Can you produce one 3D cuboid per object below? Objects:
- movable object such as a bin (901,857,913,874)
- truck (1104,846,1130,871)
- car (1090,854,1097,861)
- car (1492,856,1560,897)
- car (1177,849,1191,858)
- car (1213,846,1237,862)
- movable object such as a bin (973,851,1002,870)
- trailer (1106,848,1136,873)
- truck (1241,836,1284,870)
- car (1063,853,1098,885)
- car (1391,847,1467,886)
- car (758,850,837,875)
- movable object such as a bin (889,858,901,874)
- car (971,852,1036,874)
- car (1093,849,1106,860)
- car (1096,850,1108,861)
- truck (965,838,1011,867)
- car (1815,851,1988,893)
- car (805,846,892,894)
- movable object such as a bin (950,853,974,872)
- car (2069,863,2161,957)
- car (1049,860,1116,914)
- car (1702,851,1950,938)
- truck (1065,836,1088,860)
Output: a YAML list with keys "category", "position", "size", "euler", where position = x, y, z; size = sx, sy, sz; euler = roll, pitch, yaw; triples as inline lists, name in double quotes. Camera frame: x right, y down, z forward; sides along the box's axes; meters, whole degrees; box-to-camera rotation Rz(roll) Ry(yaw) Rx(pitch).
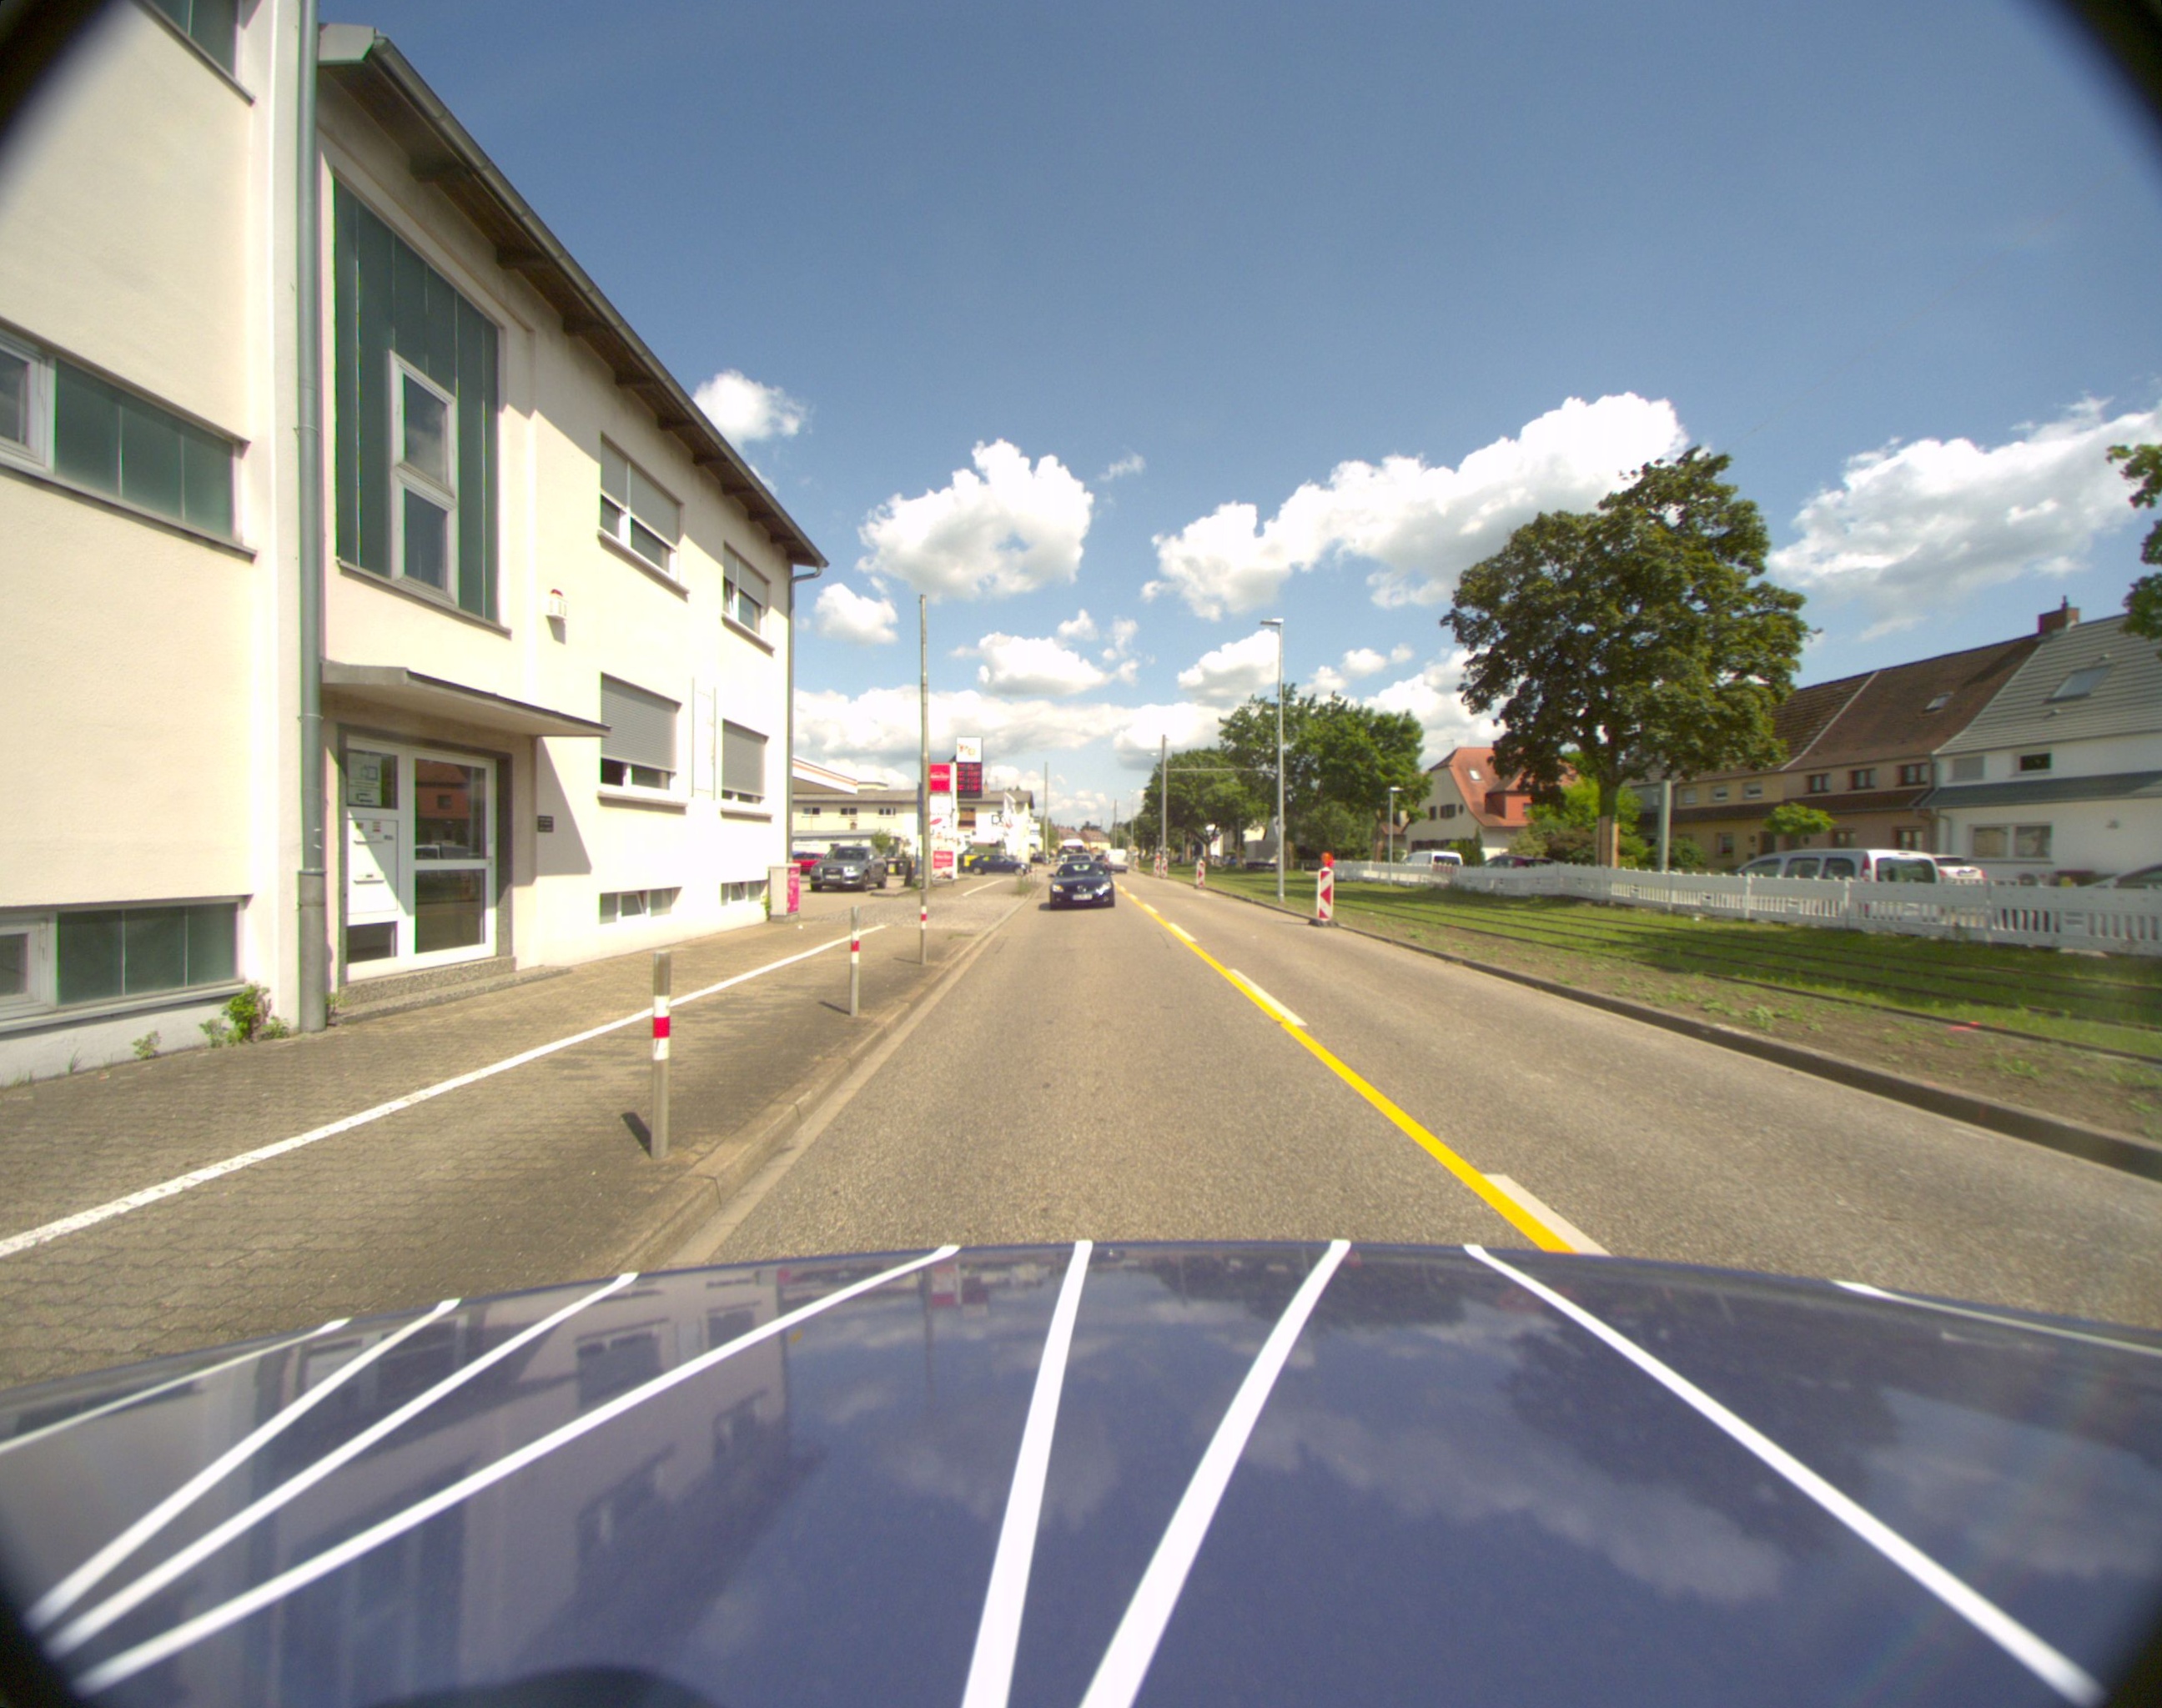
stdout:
- category: "movable object such as a bin"
  position: [-11.083, 0.733, 48.430]
  size: [0.582, 1.004, 0.706]
  euler: [-2, 1, -1]
- category: "truck"
  position: [3.026, 0.364, 65.170]
  size: [1.825, 1.899, 5.114]
  euler: [2, 1, -1]
- category: "car"
  position: [3.076, 0.807, 181.094]
  size: [1.582, 1.461, 3.719]
  euler: [2, 1, 0]
- category: "car"
  position: [15.963, 0.764, 27.342]
  size: [1.075, 1.340, 2.449]
  euler: [1, 1, 4]
- category: "car"
  position: [15.995, -0.053, 117.947]
  size: [1.637, 1.294, 3.999]
  euler: [-2, 1, 0]
- category: "car"
  position: [14.862, -0.001, 78.487]
  size: [1.672, 1.504, 3.930]
  euler: [-2, 1, 0]
- category: "movable object such as a bin"
  position: [-7.121, 0.473, 57.785]
  size: [1.968, 1.339, 1.708]
  euler: [-2, 1, -1]
- category: "trailer"
  position: [3.162, 0.462, 61.542]
  size: [2.067, 1.825, 5.484]
  euler: [2, 1, 0]
- category: "truck"
  position: [16.099, -0.148, 67.920]
  size: [2.371, 2.789, 5.950]
  euler: [-2, 1, 0]
- category: "car"
  position: [-0.012, 0.706, 37.413]
  size: [1.594, 1.418, 3.706]
  euler: [-2, 1, 0]
- category: "car"
  position: [16.086, 0.539, 35.326]
  size: [1.657, 1.616, 4.000]
  euler: [1, 1, 0]
- category: "car"
  position: [-17.238, 0.500, 46.343]
  size: [4.145, 1.416, 1.771]
  euler: [1, 1, 1]
- category: "movable object such as a bin"
  position: [-11.820, 0.761, 48.388]
  size: [0.582, 1.004, 0.706]
  euler: [-2, 1, -1]
- category: "car"
  position: [-5.184, 0.582, 50.986]
  size: [4.061, 1.400, 1.647]
  euler: [0, 1, 6]
- category: "car"
  position: [2.584, 0.072, 109.054]
  size: [1.697, 1.404, 3.858]
  euler: [2, 1, -1]
- category: "car"
  position: [3.375, 0.207, 123.992]
  size: [1.829, 1.656, 4.461]
  euler: [1, 1, 0]
- category: "truck"
  position: [-9.125, -0.153, 74.673]
  size: [4.181, 2.645, 2.108]
  euler: [-2, 1, 1]
- category: "car"
  position: [28.433, 0.564, 26.538]
  size: [1.538, 1.268, 4.119]
  euler: [1, 1, 0]
- category: "car"
  position: [-8.447, 0.532, 28.062]
  size: [1.951, 1.615, 4.614]
  euler: [1, 1, -2]
- category: "movable object such as a bin"
  position: [-8.980, 0.627, 57.311]
  size: [1.536, 1.402, 1.765]
  euler: [-2, 1, -1]
- category: "car"
  position: [16.380, 0.827, 10.509]
  size: [1.353, 1.369, 3.114]
  euler: [1, 0, 0]
- category: "car"
  position: [0.036, 0.877, 21.803]
  size: [1.732, 1.259, 3.999]
  euler: [-2, 1, 0]
- category: "car"
  position: [16.295, 0.791, 16.939]
  size: [1.627, 1.642, 3.898]
  euler: [1, 1, 0]
- category: "truck"
  position: [-0.543, -0.851, 97.354]
  size: [2.632, 2.872, 7.922]
  euler: [-2, 1, 1]
